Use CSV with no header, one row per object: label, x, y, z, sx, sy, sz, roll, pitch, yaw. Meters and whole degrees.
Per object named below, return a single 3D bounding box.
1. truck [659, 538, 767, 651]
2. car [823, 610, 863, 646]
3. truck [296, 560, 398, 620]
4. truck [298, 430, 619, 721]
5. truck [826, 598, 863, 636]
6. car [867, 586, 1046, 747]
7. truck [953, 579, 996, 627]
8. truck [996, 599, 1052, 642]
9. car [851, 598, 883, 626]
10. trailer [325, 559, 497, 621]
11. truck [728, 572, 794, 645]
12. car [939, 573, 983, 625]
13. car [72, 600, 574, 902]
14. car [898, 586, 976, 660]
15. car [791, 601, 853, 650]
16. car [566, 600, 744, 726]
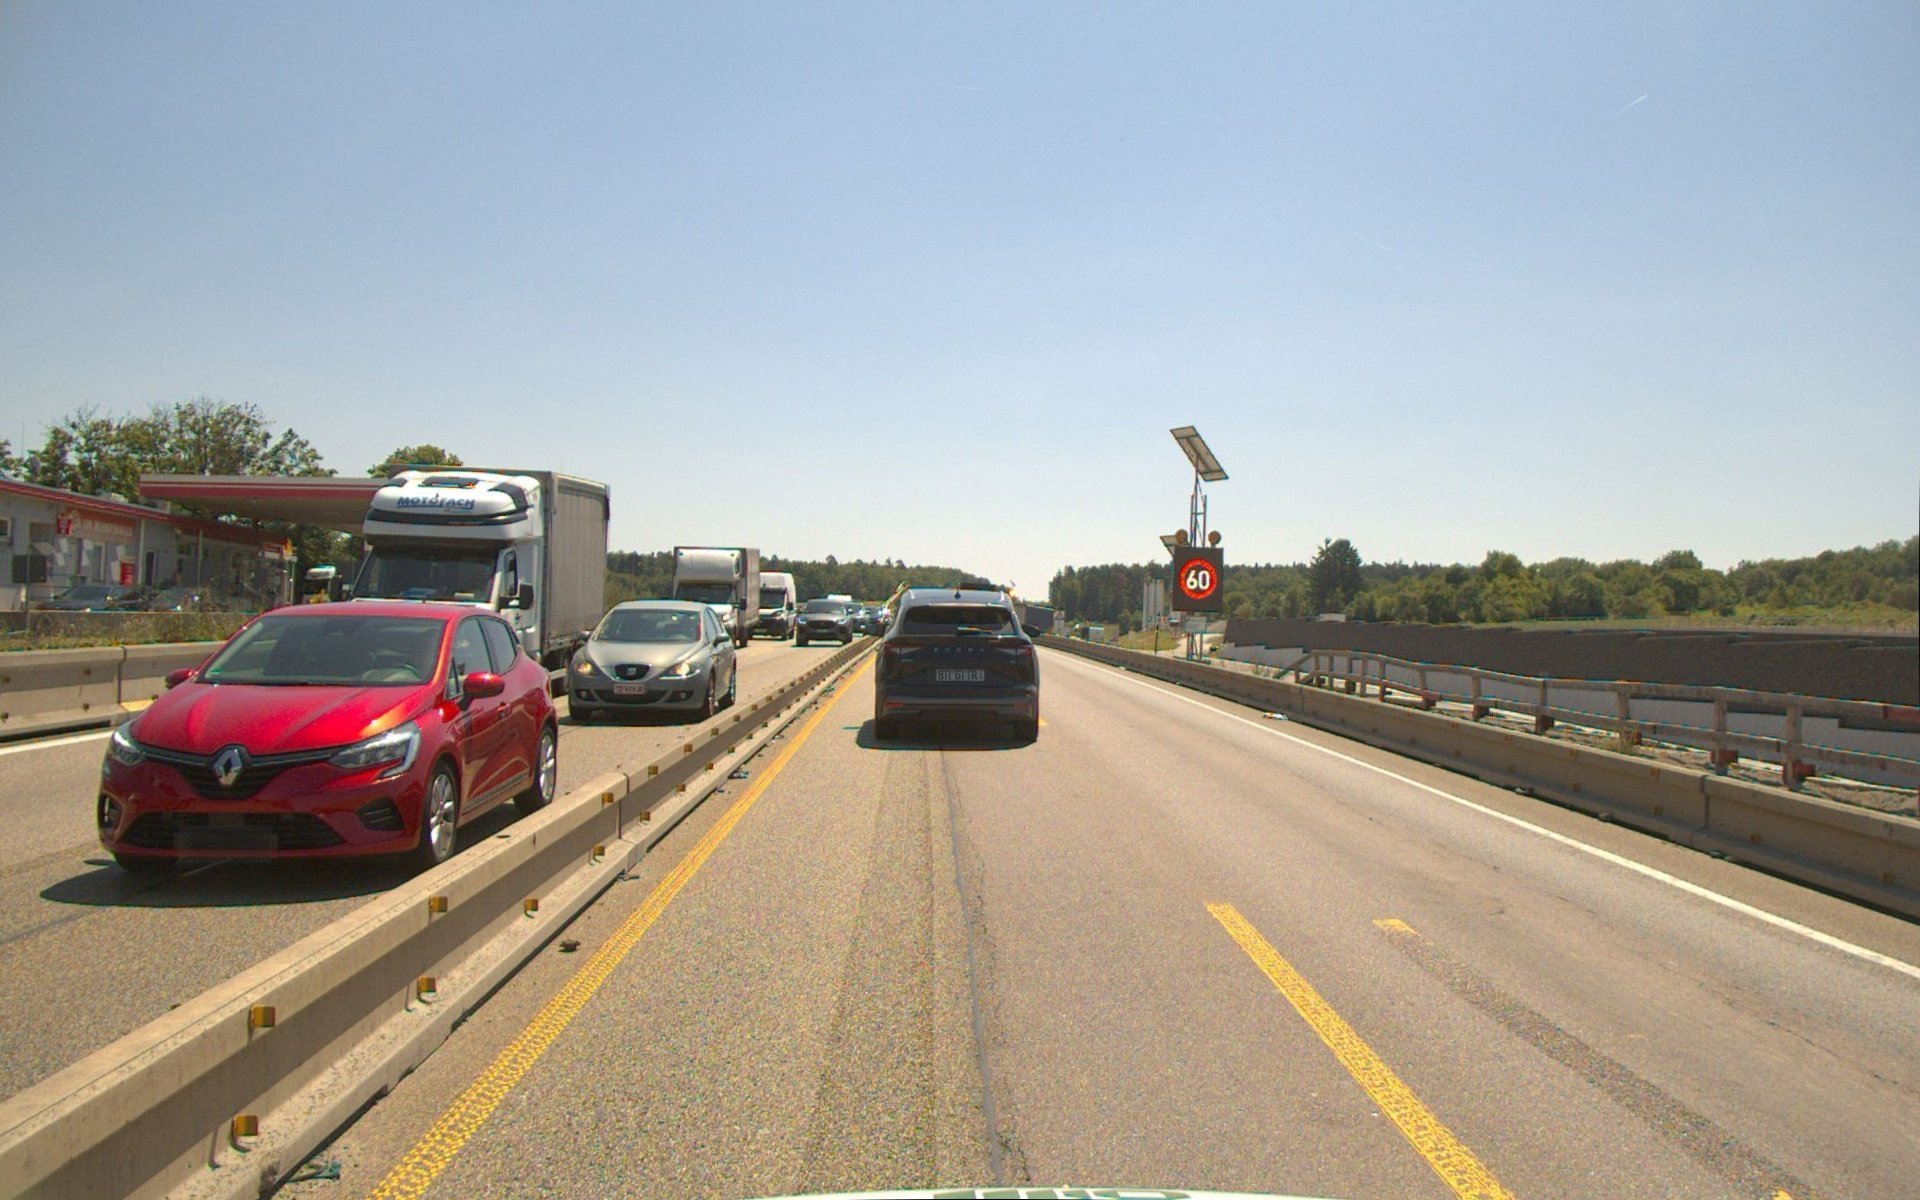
truck,-7.897,-0.171,53.833,2.445,3.349,8.114,1,0,-2
car,-5.818,1.362,82.052,1.901,1.639,3.996,1,0,-4
truck,-43.076,-0.648,116.366,3.088,4.055,6.341,0,-1,25
truck,-6.848,-0.295,23.854,2.341,3.444,7.712,2,0,-1
truck,-9.063,1.355,130.573,2.429,2.874,8.126,1,-1,-1
car,-0.053,0.676,18.999,1.805,1.609,3.999,1,0,-1
truck,0.919,0.183,107.580,2.618,2.997,5.619,1,0,0
truck,7.778,2.532,199.183,3.405,4.292,10.378,7,-1,19
car,-5.885,0.759,105.027,1.807,1.670,3.999,1,0,-1
trailer,-40.307,-0.599,122.326,3.088,4.183,14.151,0,-1,25
truck,-8.241,0.346,69.140,2.194,2.835,6.489,1,0,-3
car,0.132,-0.012,147.286,3.367,4.171,9.197,6,-1,1
car,-3.589,0.745,10.123,1.616,1.459,3.998,1,0,-2
car,-0.682,0.638,45.759,1.954,1.876,3.998,3,-1,-2
car,-4.888,0.879,59.250,1.902,1.687,4.744,0,0,-1
car,-3.869,0.744,21.597,1.648,1.454,4.200,1,0,-2
